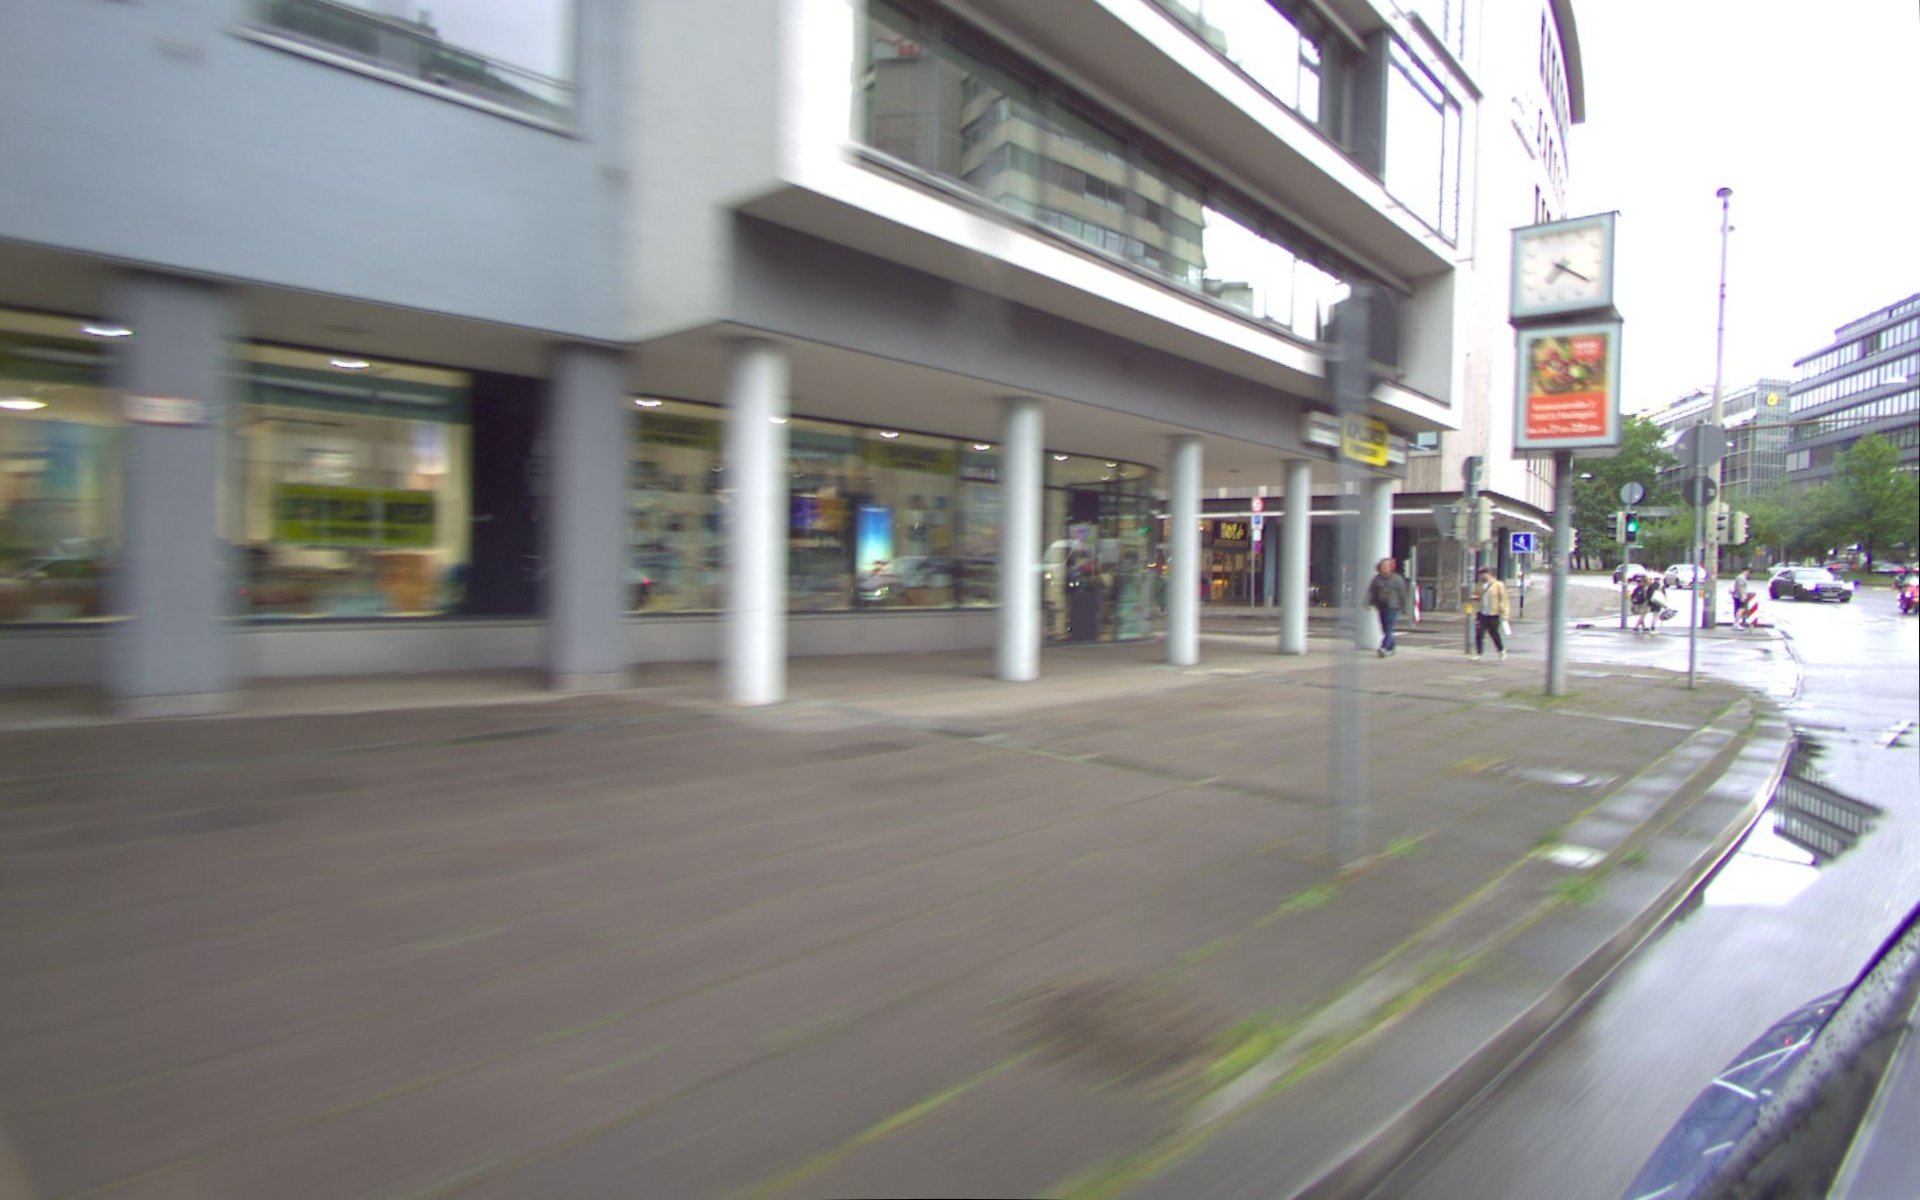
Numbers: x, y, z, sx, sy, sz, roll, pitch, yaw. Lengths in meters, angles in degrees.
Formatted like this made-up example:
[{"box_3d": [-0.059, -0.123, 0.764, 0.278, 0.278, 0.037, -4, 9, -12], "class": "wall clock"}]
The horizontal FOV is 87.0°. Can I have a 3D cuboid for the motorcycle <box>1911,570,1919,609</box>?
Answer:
[{"box_3d": [34.330, -0.388, 35.715, 1.127, 1.282, 3.322, 1, 2, 43], "class": "motorcycle"}]

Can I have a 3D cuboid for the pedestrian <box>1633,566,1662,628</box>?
[{"box_3d": [18.474, -0.095, 27.197, 0.525, 1.617, 0.720, 0, 2, 43], "class": "pedestrian"}]

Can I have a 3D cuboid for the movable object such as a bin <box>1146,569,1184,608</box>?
[{"box_3d": [8.366, -0.468, 41.261, 0.983, 1.530, 1.372, 0, 2, 42], "class": "movable object such as a bin"}]

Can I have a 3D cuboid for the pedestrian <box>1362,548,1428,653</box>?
[{"box_3d": [7.752, 0.004, 18.032, 0.880, 1.805, 0.792, 0, 0, -44], "class": "pedestrian"}]

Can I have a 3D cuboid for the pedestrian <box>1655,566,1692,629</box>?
[{"box_3d": [18.845, -0.073, 26.724, 0.652, 1.617, 1.042, 0, 2, 43], "class": "pedestrian"}]

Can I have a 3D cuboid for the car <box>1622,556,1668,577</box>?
[{"box_3d": [50.159, -2.463, 74.184, 1.870, 1.504, 3.974, 0, 2, 21], "class": "car"}]

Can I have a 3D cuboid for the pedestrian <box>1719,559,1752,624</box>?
[{"box_3d": [21.324, -0.240, 27.836, 0.649, 1.747, 0.807, 0, 2, 33], "class": "pedestrian"}]

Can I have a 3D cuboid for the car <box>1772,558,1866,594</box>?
[{"box_3d": [38.208, -1.105, 45.153, 1.869, 1.504, 3.976, 0, 2, 19], "class": "car"}]

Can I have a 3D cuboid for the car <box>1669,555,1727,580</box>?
[{"box_3d": [45.590, -2.010, 62.585, 1.870, 1.504, 3.974, 0, 2, 21], "class": "car"}]

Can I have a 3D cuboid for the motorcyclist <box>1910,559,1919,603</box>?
[{"box_3d": [34.156, -0.664, 35.544, 1.148, 1.529, 1.179, 0, 2, 43], "class": "motorcyclist"}]

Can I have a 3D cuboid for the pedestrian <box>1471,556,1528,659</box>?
[{"box_3d": [9.718, 0.120, 18.228, 0.865, 1.805, 0.640, 0, 0, -41], "class": "pedestrian"}]
